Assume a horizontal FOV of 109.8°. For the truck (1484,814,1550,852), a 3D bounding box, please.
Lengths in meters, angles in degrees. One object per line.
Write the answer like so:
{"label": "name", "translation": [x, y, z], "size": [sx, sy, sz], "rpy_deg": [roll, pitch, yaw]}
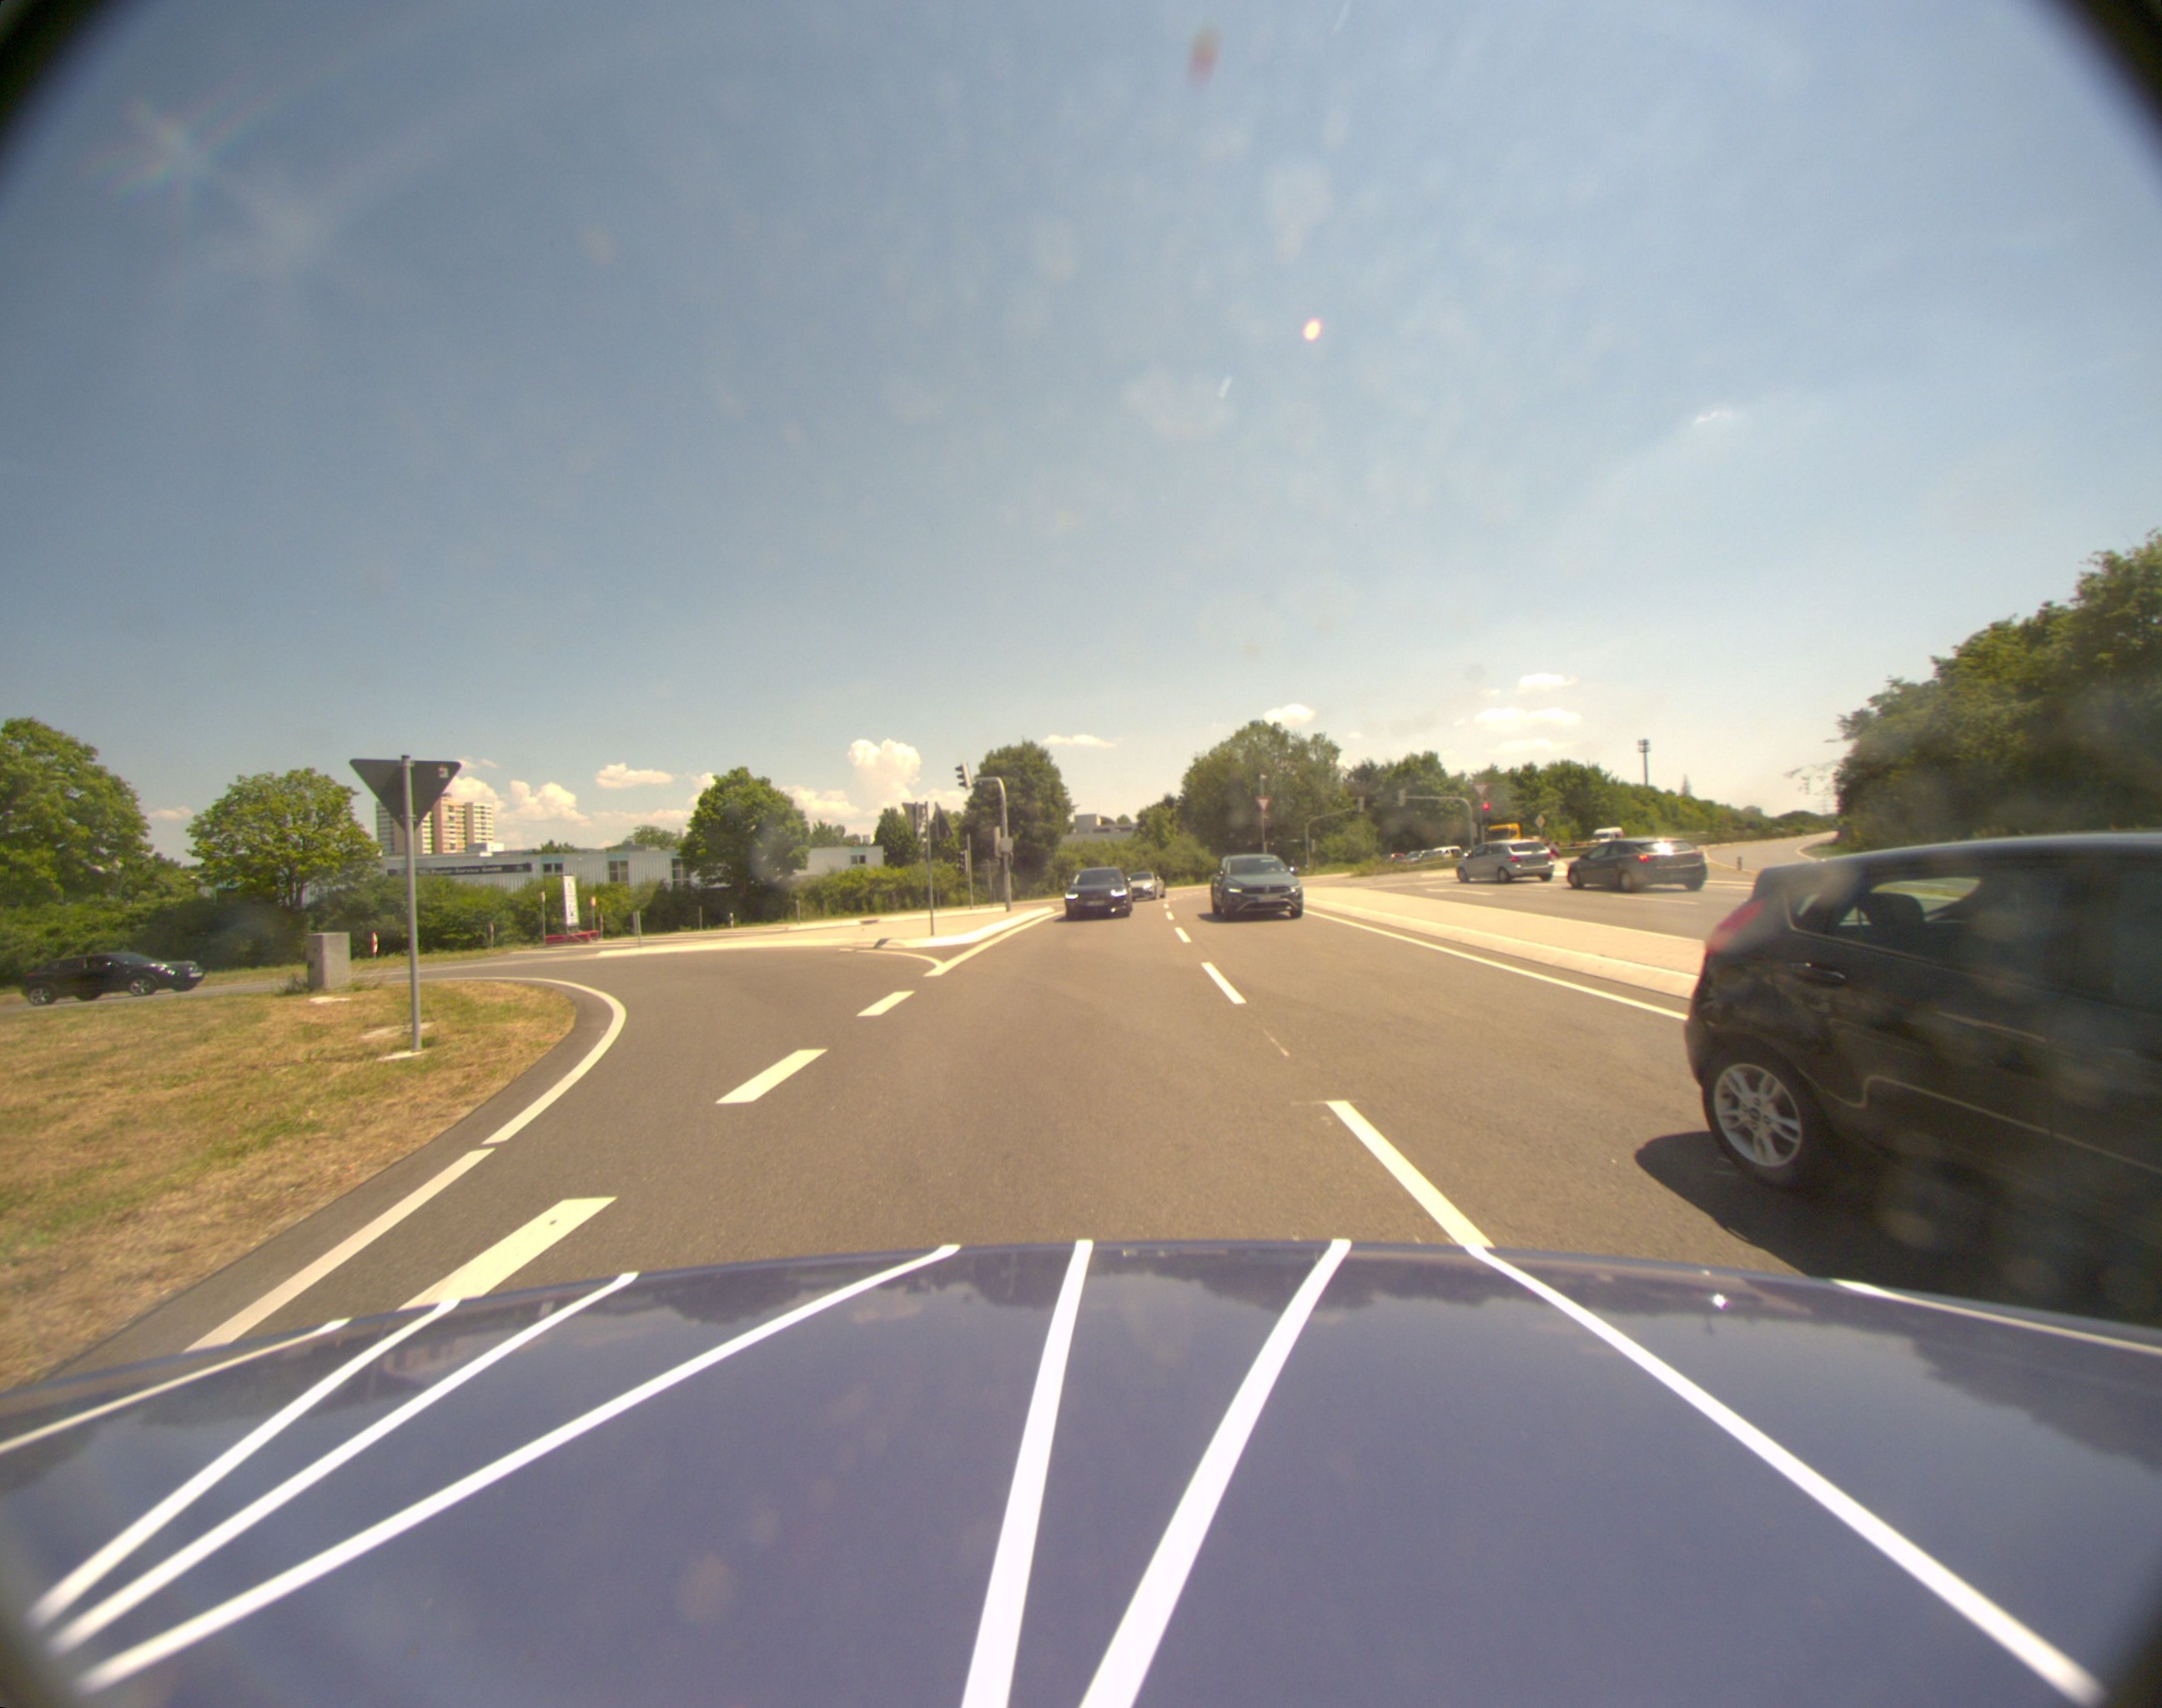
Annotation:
{"label": "truck", "translation": [45.504, -2.207, 79.299], "size": [6.867, 3.516, 2.979], "rpy_deg": [-3, -1, -32]}

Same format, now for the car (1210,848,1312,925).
{"label": "car", "translation": [4.289, 0.703, 18.764], "size": [1.838, 1.577, 4.393], "rpy_deg": [-3, 0, 6]}

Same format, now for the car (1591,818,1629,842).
{"label": "car", "translation": [63.982, -2.926, 91.847], "size": [5.490, 2.591, 2.164], "rpy_deg": [-3, -1, -39]}

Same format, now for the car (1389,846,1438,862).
{"label": "car", "translation": [31.318, 0.033, 71.657], "size": [4.004, 1.182, 1.997], "rpy_deg": [-3, -1, -24]}

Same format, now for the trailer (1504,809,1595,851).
{"label": "trailer", "translation": [51.504, -2.721, 83.246], "size": [13.193, 4.038, 3.066], "rpy_deg": [-3, -1, -34]}

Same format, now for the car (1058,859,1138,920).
{"label": "car", "translation": [0.616, 1.034, 22.681], "size": [1.779, 1.496, 4.565], "rpy_deg": [-5, -3, 7]}

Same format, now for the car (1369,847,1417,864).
{"label": "car", "translation": [30.592, 0.134, 74.499], "size": [4.004, 1.444, 1.997], "rpy_deg": [-3, -1, -24]}

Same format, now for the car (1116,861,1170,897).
{"label": "car", "translation": [3.146, 1.197, 37.917], "size": [1.932, 1.577, 4.184], "rpy_deg": [-4, -1, 14]}

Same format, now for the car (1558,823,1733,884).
{"label": "car", "translation": [15.672, 0.021, 21.431], "size": [1.998, 1.430, 4.224], "rpy_deg": [-3, -1, 5]}

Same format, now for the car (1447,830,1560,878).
{"label": "car", "translation": [16.112, 0.043, 29.267], "size": [1.613, 1.590, 4.353], "rpy_deg": [-4, -1, -4]}

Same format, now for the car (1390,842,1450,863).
{"label": "car", "translation": [27.088, -0.146, 60.648], "size": [4.457, 1.582, 2.114], "rpy_deg": [-2, 1, -28]}

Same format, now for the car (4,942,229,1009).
{"label": "car", "translation": [-32.686, 4.088, 25.928], "size": [4.356, 1.590, 1.936], "rpy_deg": [-4, -1, -17]}

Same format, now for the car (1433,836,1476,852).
{"label": "car", "translation": [39.147, -1.025, 79.662], "size": [4.004, 1.444, 1.779], "rpy_deg": [-3, -1, -24]}

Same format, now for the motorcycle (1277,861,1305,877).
{"label": "motorcycle", "translation": [15.997, 1.132, 57.780], "size": [2.075, 1.131, 0.733], "rpy_deg": [0, 0, -24]}

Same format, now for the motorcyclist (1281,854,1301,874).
{"label": "motorcyclist", "translation": [15.919, 0.748, 57.706], "size": [1.163, 1.479, 0.859], "rpy_deg": [-1, 0, -24]}

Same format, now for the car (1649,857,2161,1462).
{"label": "car", "translation": [3.538, 0.772, 1.550], "size": [1.657, 1.485, 4.208], "rpy_deg": [-2, 0, 2]}
